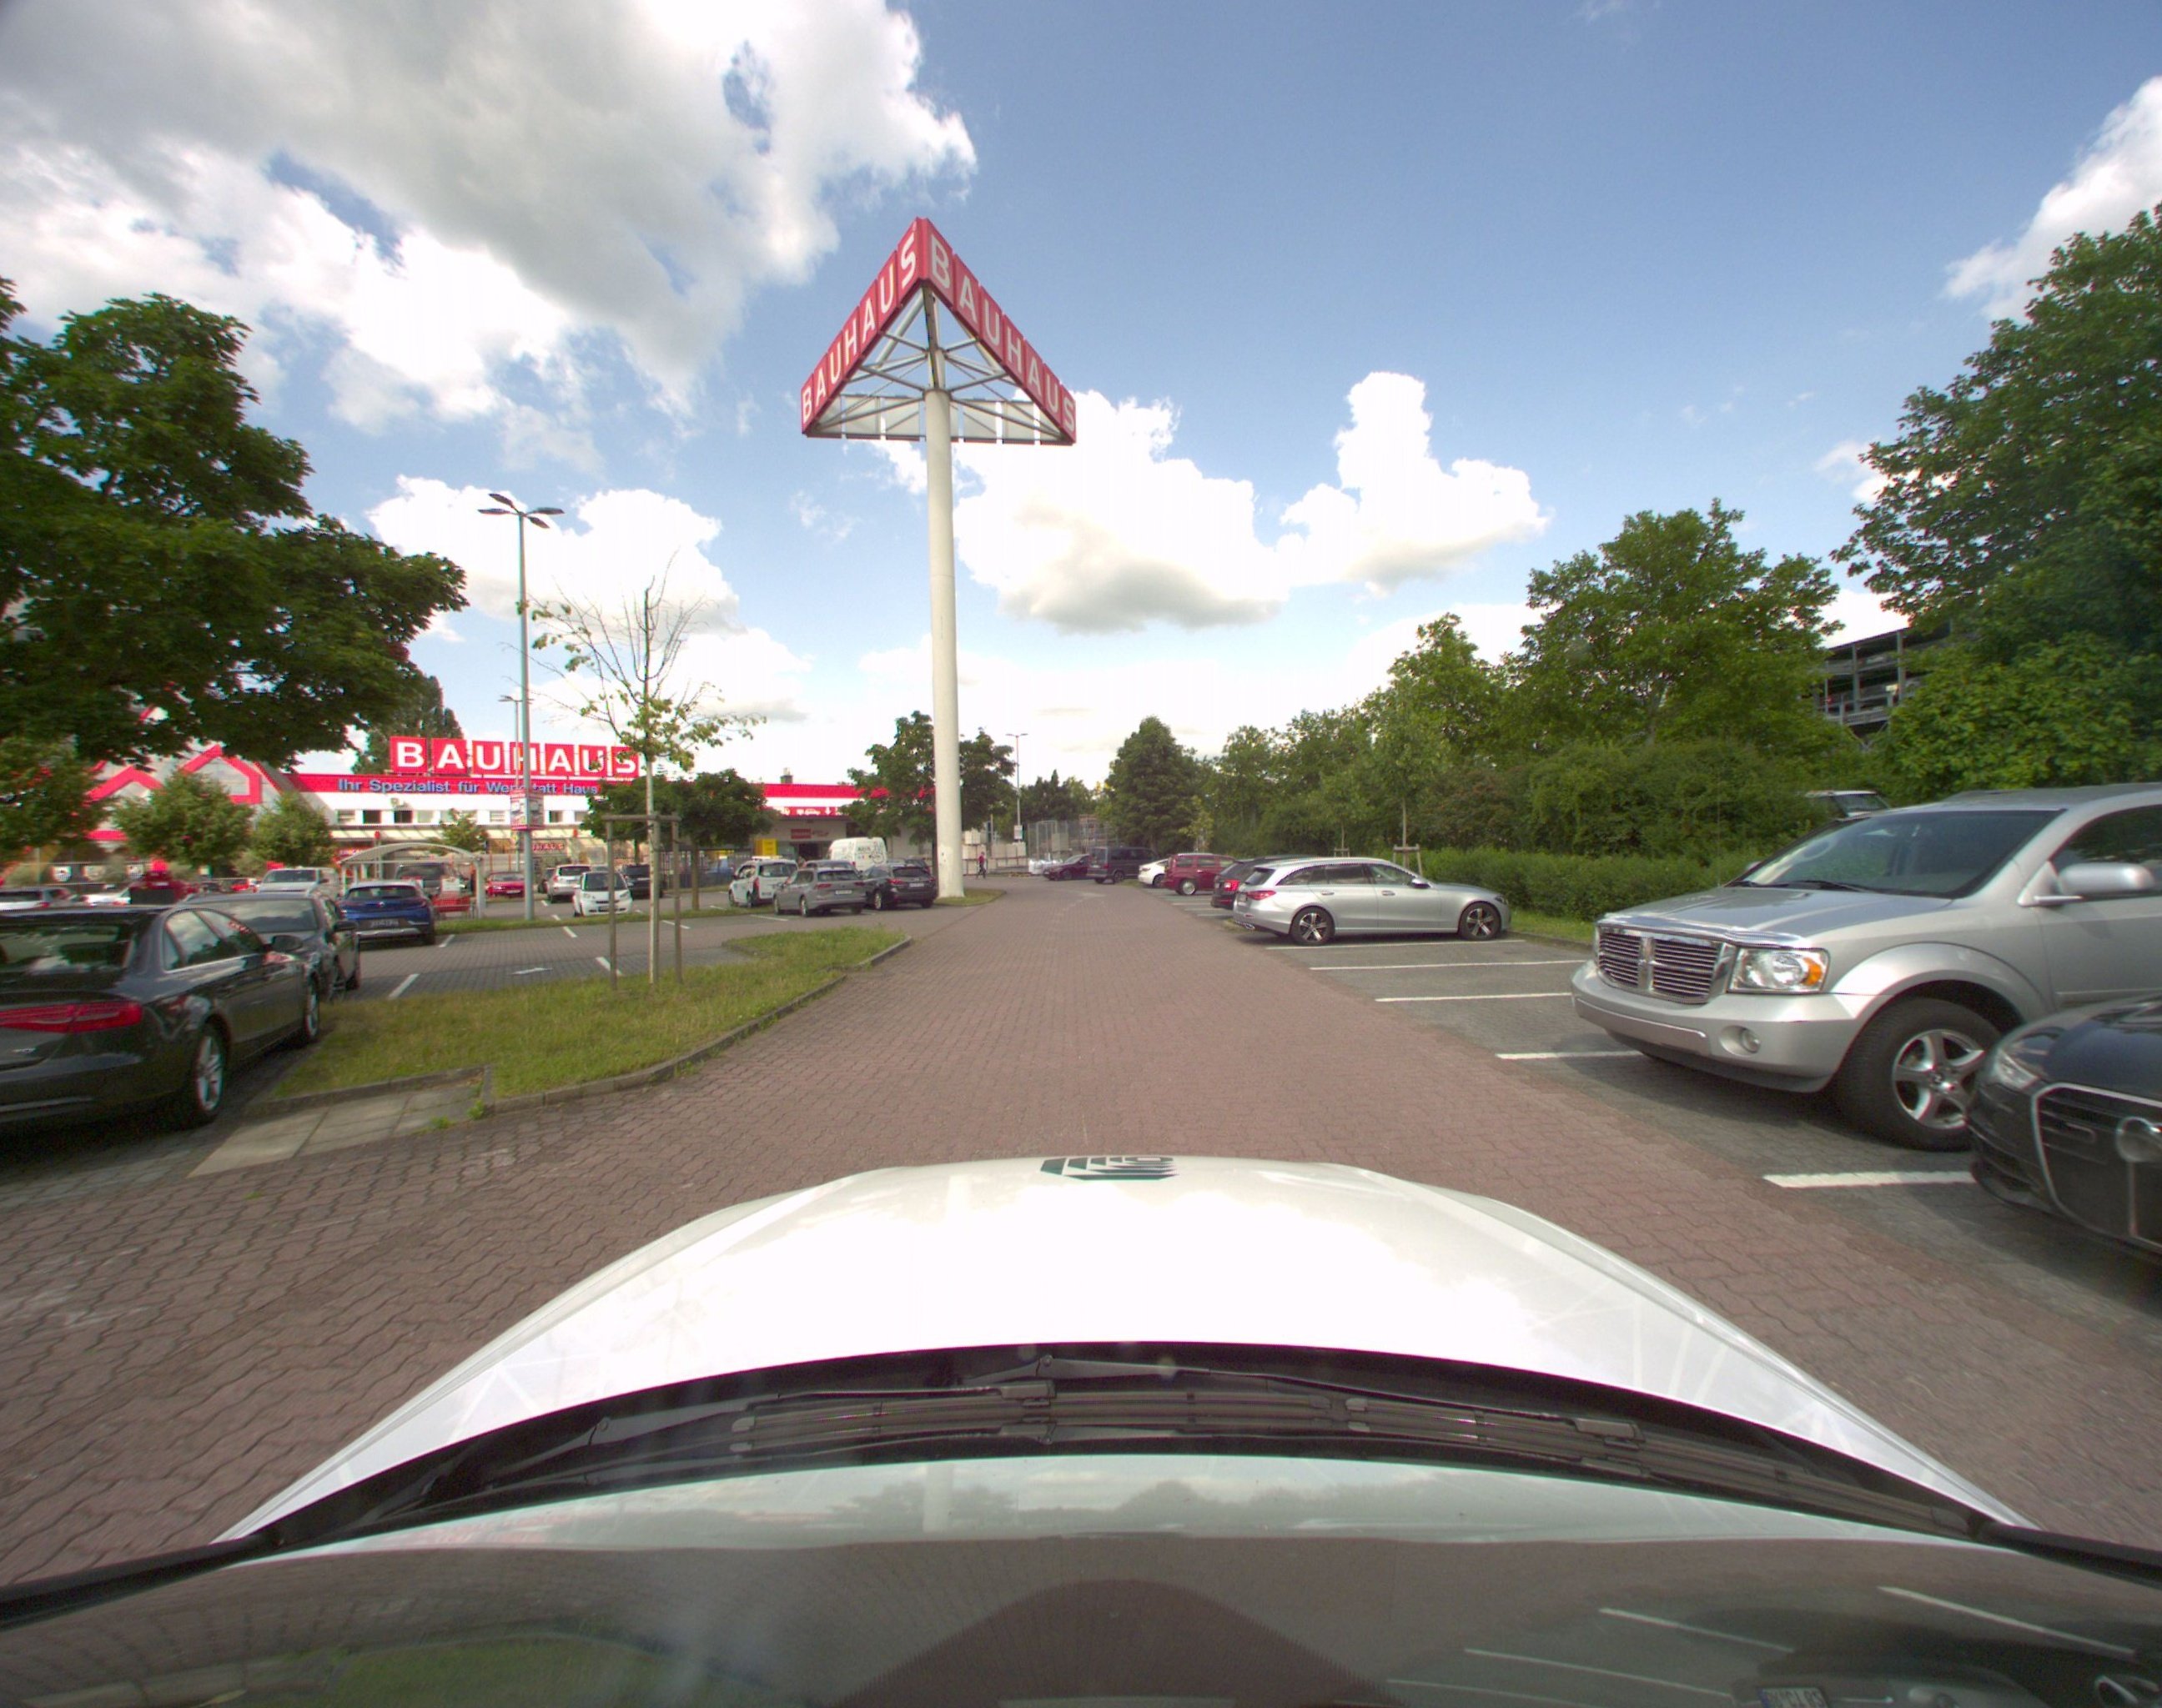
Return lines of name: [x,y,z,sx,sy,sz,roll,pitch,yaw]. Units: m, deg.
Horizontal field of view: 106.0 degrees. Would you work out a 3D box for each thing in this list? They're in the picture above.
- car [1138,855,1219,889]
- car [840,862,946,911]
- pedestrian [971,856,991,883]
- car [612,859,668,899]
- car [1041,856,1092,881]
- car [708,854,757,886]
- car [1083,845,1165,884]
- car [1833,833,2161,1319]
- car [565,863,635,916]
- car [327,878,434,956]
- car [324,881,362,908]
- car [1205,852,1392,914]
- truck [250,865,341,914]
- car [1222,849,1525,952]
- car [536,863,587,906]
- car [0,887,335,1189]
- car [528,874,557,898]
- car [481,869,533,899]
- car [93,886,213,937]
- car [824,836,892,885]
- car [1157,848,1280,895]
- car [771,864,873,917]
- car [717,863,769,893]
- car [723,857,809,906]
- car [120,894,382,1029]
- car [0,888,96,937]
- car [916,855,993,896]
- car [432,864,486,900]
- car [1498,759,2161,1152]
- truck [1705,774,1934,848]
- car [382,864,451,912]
car: [4.601,0.861,38.690,3.622,1.468,1.633,-1,-2,-2]
car: [-6.362,1.052,27.278,1.837,1.439,4.043,-2,0,-39]
pedestrian: [-6.146,0.953,50.168,0.911,1.666,0.789,-2,0,27]
car: [-20.479,1.127,37.753,1.773,1.524,3.432,-3,4,-37]
car: [-0.839,0.867,47.655,2.696,1.432,1.342,2,-3,-28]
car: [-23.208,1.084,54.158,2.009,2.014,3.954,2,-3,-38]
car: [2.353,0.577,44.175,4.071,2.019,1.928,0,-2,-31]
car: [5.587,0.600,2.635,4.697,1.451,1.838,-2,0,-2]
car: [-16.456,1.168,27.771,1.727,1.596,3.956,-2,0,-35]
car: [-16.628,1.412,19.469,1.761,1.615,3.681,-2,0,-39]
car: [-40.577,2.198,44.806,1.397,1.397,3.359,-2,0,-40]
car: [5.077,0.683,19.337,3.977,1.381,1.697,0,-2,-3]
truck: [-34.502,1.556,35.918,1.867,2.014,5.351,2,-3,-33]
car: [4.966,0.758,14.241,4.626,1.504,1.783,-2,0,-2]
car: [-23.147,1.333,36.240,1.610,1.743,3.131,-3,0,-37]
car: [-6.935,1.023,5.817,1.779,1.432,4.493,-2,0,-35]
car: [-33.027,1.978,49.941,1.169,1.425,2.508,2,-3,-40]
car: [-27.875,1.431,39.525,1.751,1.339,3.425,-1,-1,-40]
car: [-32.709,1.971,28.840,2.009,1.509,3.955,-2,0,-37]
car: [-12.173,0.334,44.266,2.062,2.510,4.678,0,0,-35]
car: [5.202,0.657,31.189,4.296,1.596,1.998,-2,0,-3]
car: [-8.044,1.087,25.128,1.734,1.446,3.729,-2,0,-39]
car: [-16.892,1.199,40.574,1.549,1.405,3.585,2,-3,-36]
car: [-11.711,0.994,30.100,1.919,1.596,3.955,-2,0,-37]
car: [-10.498,1.221,10.646,1.802,1.352,4.020,2,-3,-38]
car: [-34.445,1.887,26.869,1.736,1.509,3.200,2,-3,-37]
car: [-5.448,0.897,34.743,2.005,1.618,3.963,-2,0,-28]
car: [-36.433,1.676,47.796,2.006,2.014,3.960,2,-3,-31]
car: [5.661,0.437,5.073,5.118,1.842,1.989,-2,0,-3]
truck: [27.193,-1.452,30.512,1.988,2.343,6.983,-2,0,-2]
car: [-26.899,1.350,33.057,2.010,1.778,3.954,-2,0,-38]
